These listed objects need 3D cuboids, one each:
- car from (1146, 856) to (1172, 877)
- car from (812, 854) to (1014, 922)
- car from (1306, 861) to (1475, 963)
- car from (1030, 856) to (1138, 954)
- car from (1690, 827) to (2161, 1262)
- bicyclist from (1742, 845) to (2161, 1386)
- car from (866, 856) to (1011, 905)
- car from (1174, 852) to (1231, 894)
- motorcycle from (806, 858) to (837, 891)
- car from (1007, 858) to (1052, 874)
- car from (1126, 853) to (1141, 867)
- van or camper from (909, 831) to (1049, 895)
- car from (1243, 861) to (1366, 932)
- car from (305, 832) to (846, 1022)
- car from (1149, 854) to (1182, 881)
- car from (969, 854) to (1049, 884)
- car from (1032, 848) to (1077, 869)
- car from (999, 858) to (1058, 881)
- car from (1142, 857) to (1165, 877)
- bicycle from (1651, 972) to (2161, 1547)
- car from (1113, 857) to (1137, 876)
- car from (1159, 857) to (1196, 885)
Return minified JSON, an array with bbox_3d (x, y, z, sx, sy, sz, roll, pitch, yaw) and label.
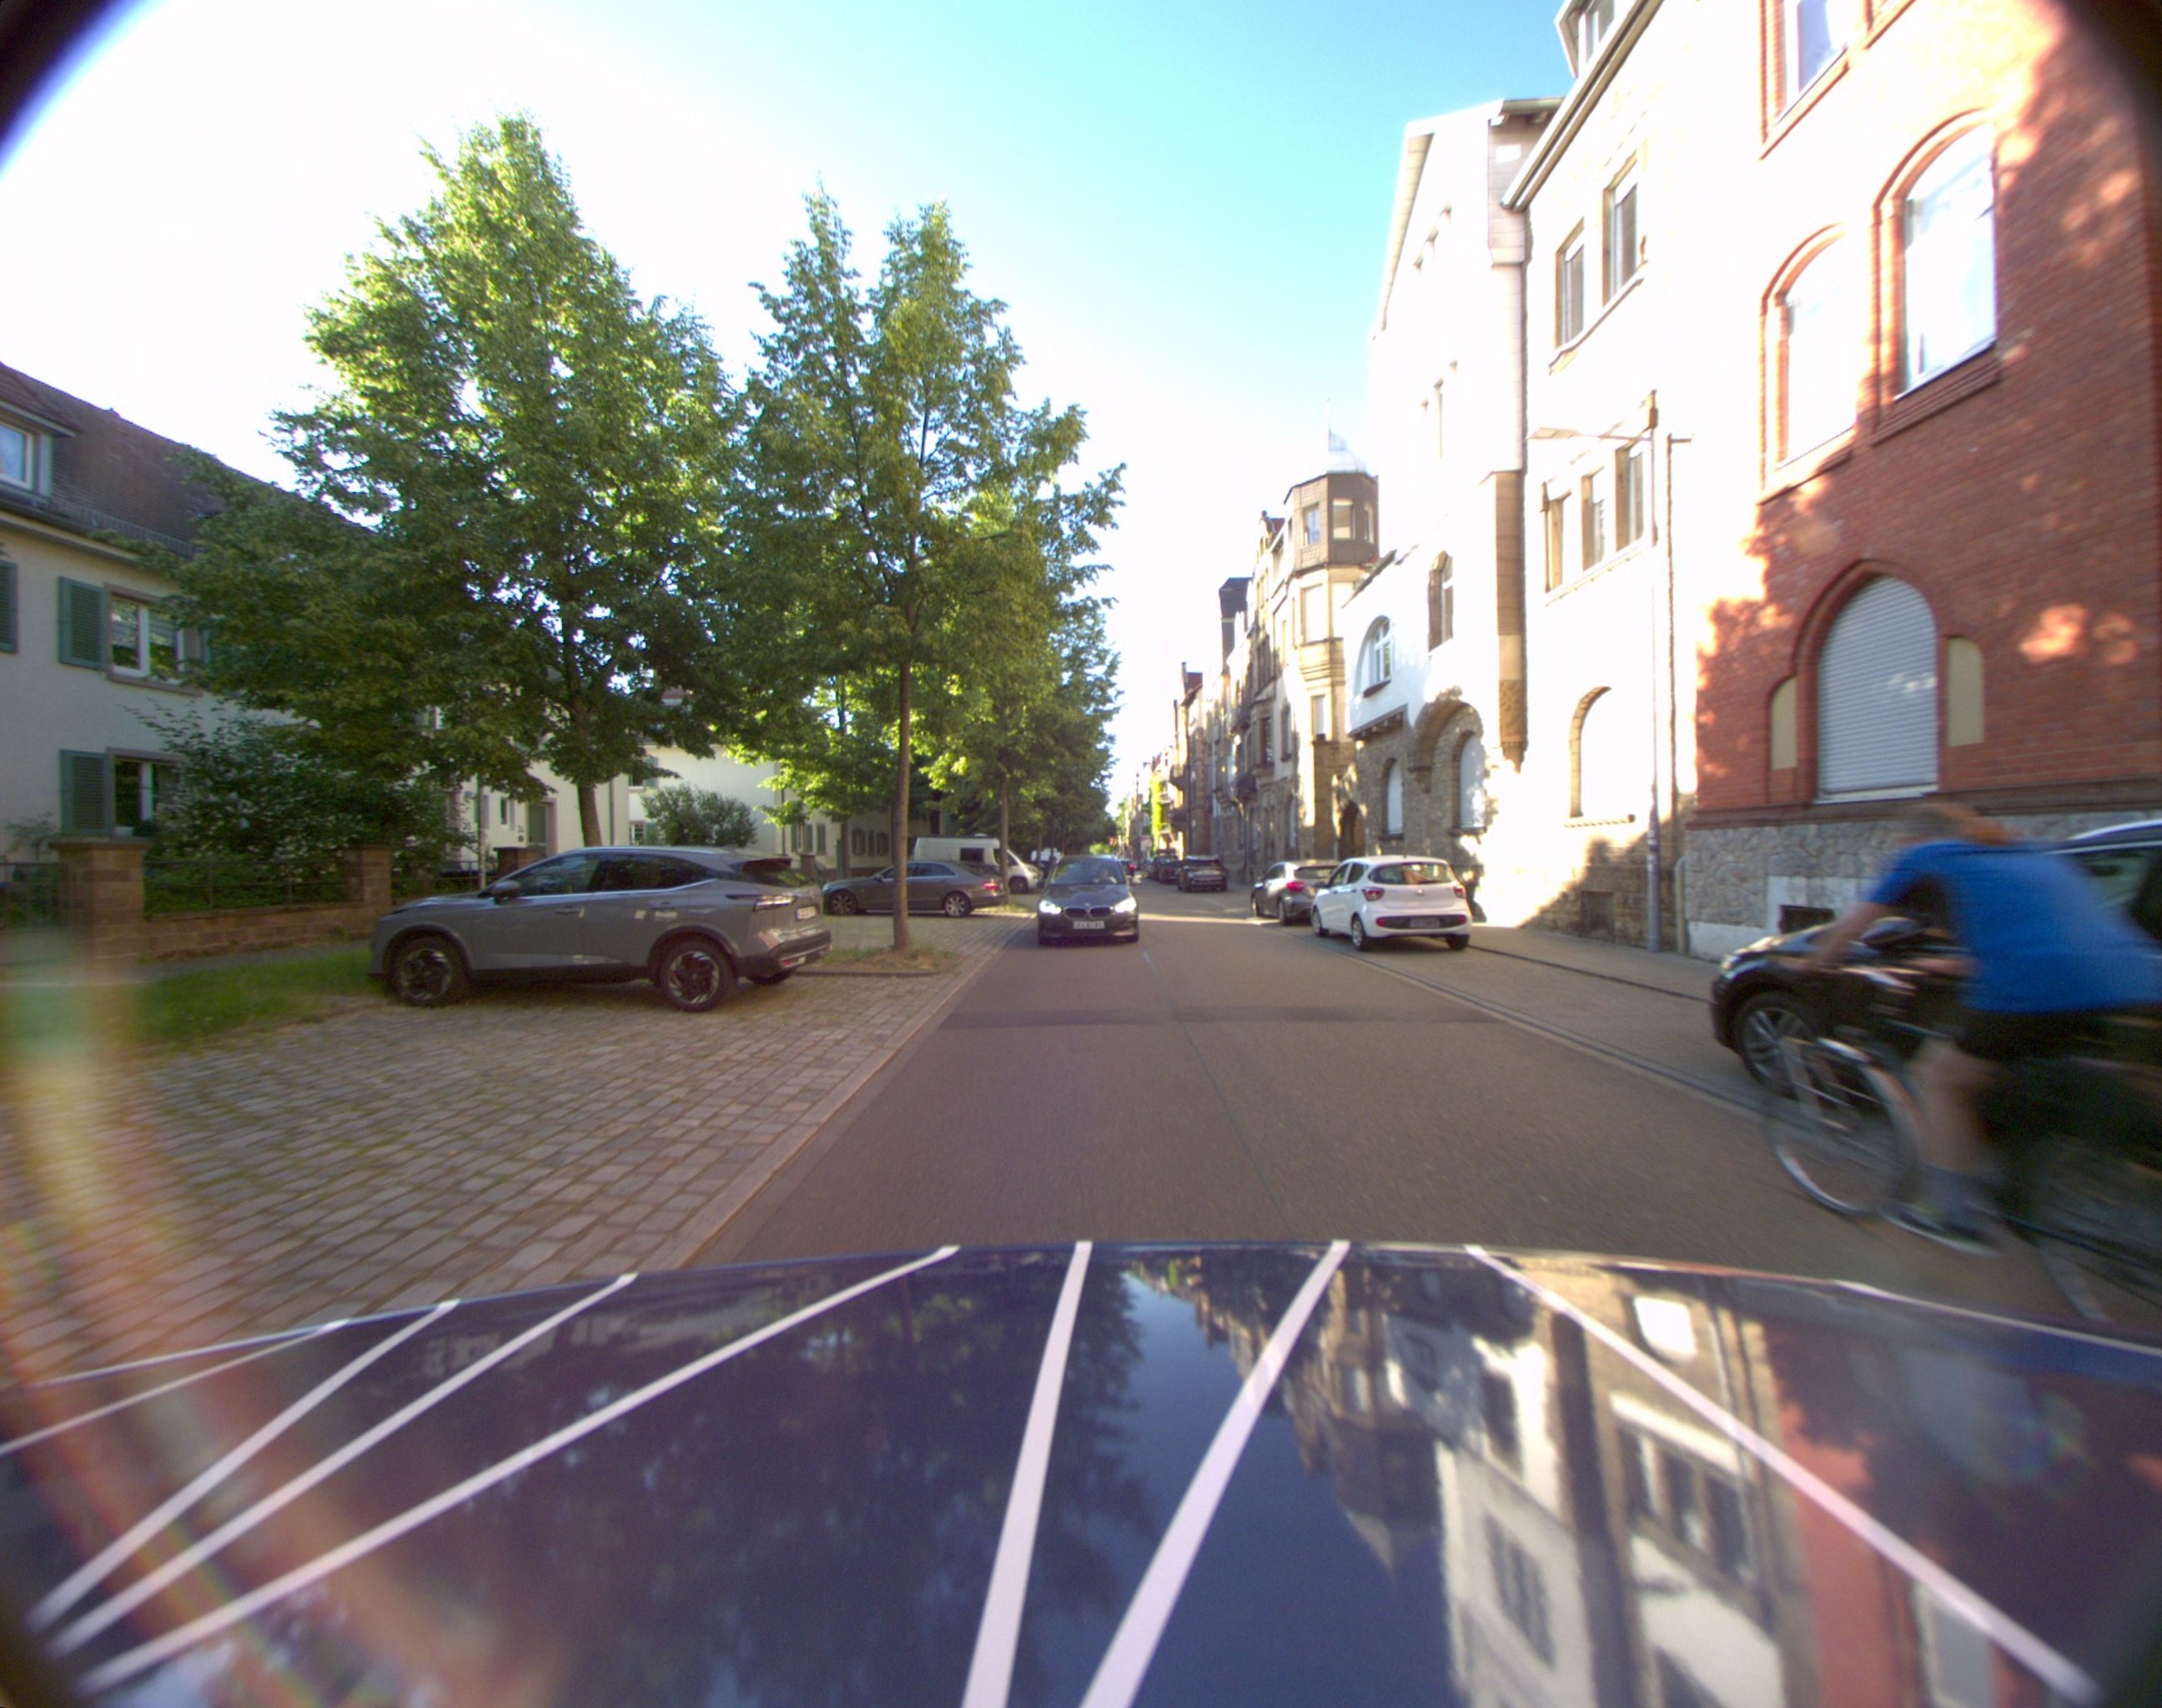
[{"bbox_3d":[5.942,0.991,58.262,1.633,1.439,3.856,-4,-1,2],"label":"car"},{"bbox_3d":[-4.277,0.858,19.983,4.850,1.530,1.894,2,0,-1],"label":"car"},{"bbox_3d":[5.129,0.886,13.089,1.570,1.461,3.592,-2,0,3],"label":"car"},{"bbox_3d":[0.105,0.873,14.939,1.753,1.596,4.551,-2,0,2],"label":"car"},{"bbox_3d":[5.007,0.724,2.988,1.673,1.671,4.349,-2,0,-1],"label":"car"},{"bbox_3d":[2.966,0.693,2.484,0.761,1.445,0.948,0,1,1],"label":"bicyclist"},{"bbox_3d":[-4.758,0.862,25.818,4.486,1.427,1.828,2,0,1],"label":"car"},{"bbox_3d":[5.398,0.822,34.189,1.881,1.707,4.340,-2,0,1],"label":"car"},{"bbox_3d":[-11.883,0.913,34.903,0.660,1.398,2.016,-2,1,1],"label":"motorcycle"},{"bbox_3d":[-4.603,1.075,68.520,3.998,1.503,1.572,0,0,-3],"label":"car"},{"bbox_3d":[6.671,0.771,96.453,1.686,1.496,3.629,-4,-1,2],"label":"car"},{"bbox_3d":[-4.385,0.369,33.441,5.733,2.502,2.162,2,0,0],"label":"van or camper"},{"bbox_3d":[5.172,0.915,18.159,1.681,1.434,4.111,-2,0,0],"label":"car"},{"bbox_3d":[-5.081,0.694,8.140,4.487,1.624,1.875,2,0,0],"label":"car"},{"bbox_3d":[5.803,0.900,52.684,1.774,1.658,4.212,-2,1,1],"label":"car"},{"bbox_3d":[-4.279,0.893,45.778,4.606,1.706,2.000,1,0,-1],"label":"car"},{"bbox_3d":[-3.214,0.565,94.009,5.448,2.646,2.134,0,0,1],"label":"car"},{"bbox_3d":[-3.650,1.061,53.030,3.997,1.543,1.555,0,0,1],"label":"car"},{"bbox_3d":[6.007,1.088,63.386,1.633,1.496,3.856,-4,-1,2],"label":"car"},{"bbox_3d":[2.970,1.097,2.504,0.759,1.101,1.907,0,1,1],"label":"bicycle"},{"bbox_3d":[3.547,0.978,61.259,1.631,1.469,3.759,1,0,-1],"label":"car"},{"bbox_3d":[5.786,0.979,46.011,1.774,1.493,4.211,-1,1,1],"label":"car"}]
